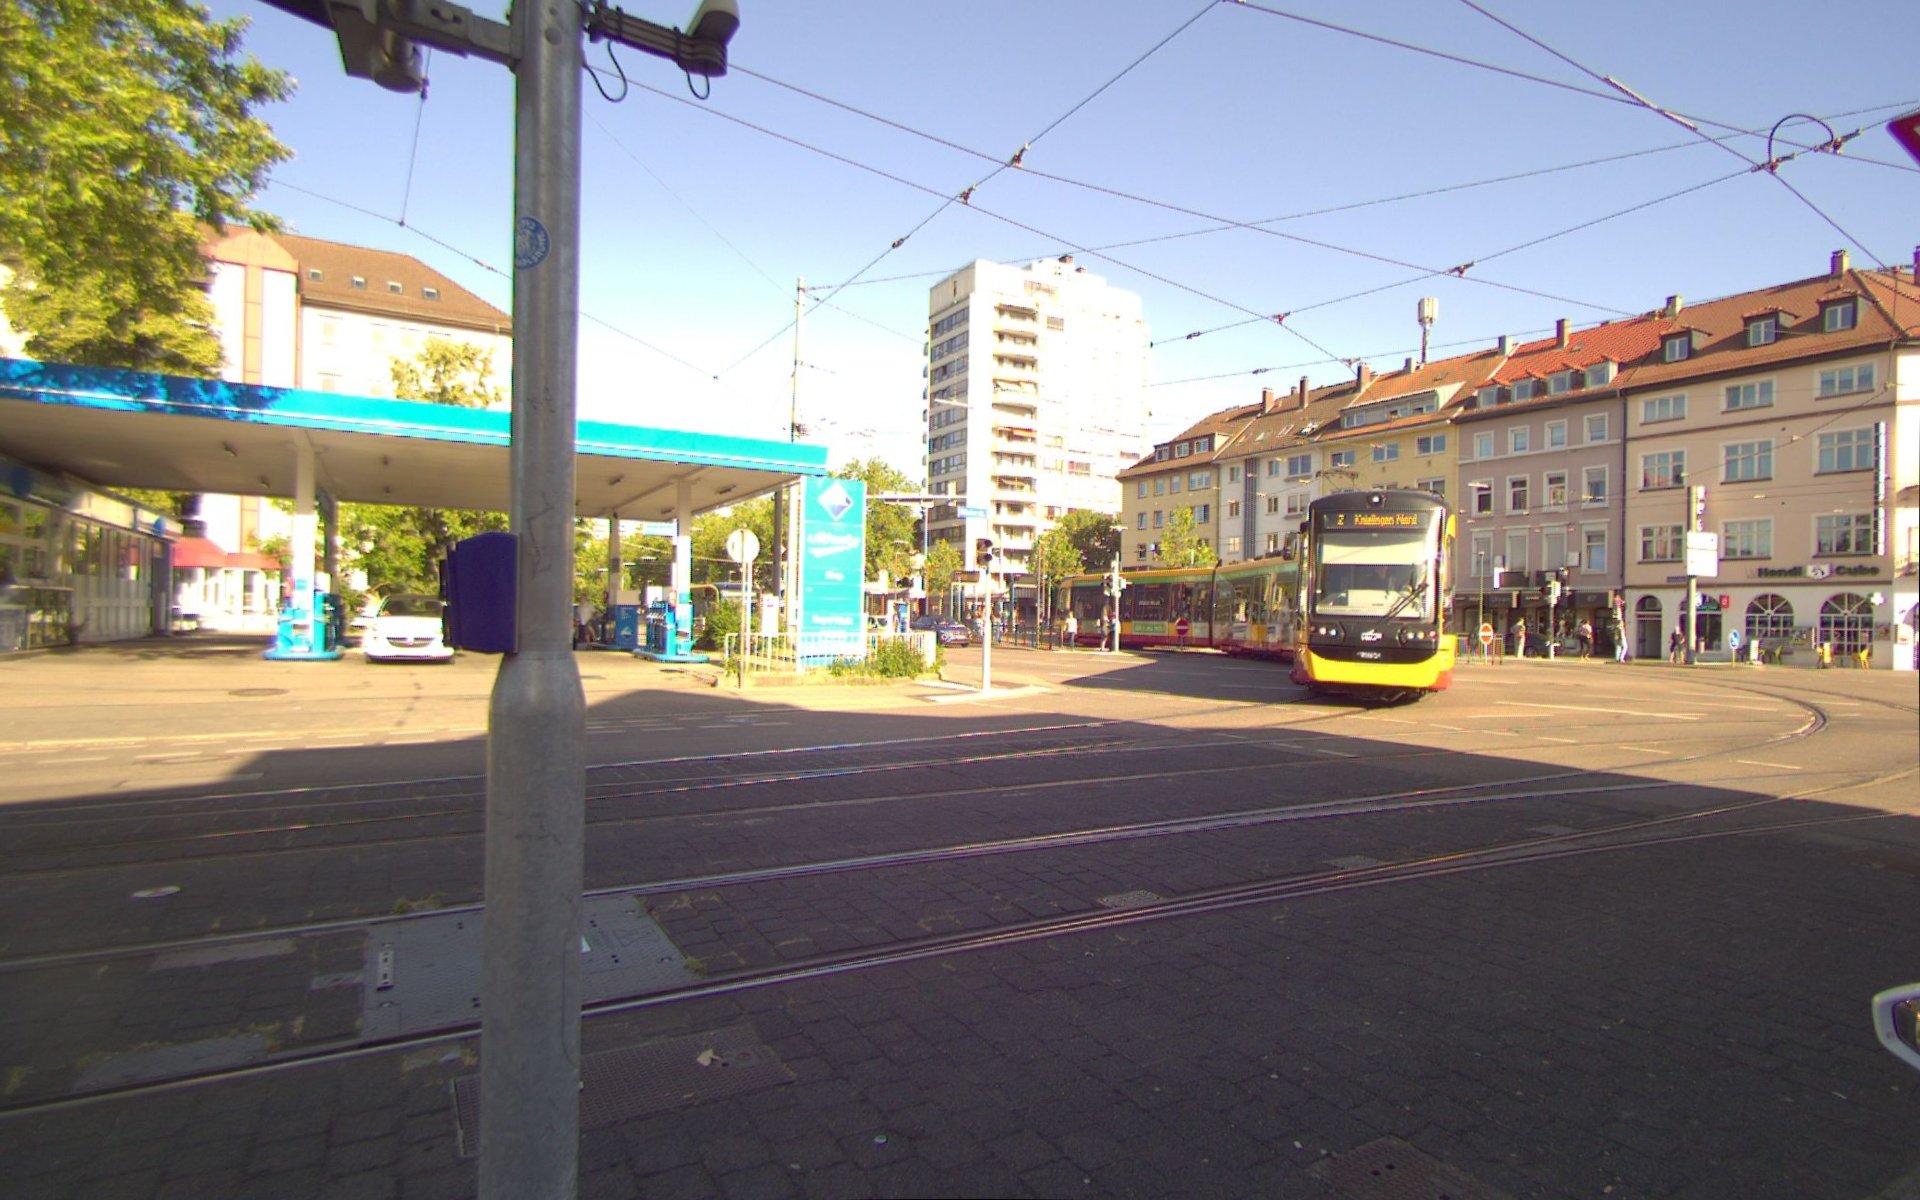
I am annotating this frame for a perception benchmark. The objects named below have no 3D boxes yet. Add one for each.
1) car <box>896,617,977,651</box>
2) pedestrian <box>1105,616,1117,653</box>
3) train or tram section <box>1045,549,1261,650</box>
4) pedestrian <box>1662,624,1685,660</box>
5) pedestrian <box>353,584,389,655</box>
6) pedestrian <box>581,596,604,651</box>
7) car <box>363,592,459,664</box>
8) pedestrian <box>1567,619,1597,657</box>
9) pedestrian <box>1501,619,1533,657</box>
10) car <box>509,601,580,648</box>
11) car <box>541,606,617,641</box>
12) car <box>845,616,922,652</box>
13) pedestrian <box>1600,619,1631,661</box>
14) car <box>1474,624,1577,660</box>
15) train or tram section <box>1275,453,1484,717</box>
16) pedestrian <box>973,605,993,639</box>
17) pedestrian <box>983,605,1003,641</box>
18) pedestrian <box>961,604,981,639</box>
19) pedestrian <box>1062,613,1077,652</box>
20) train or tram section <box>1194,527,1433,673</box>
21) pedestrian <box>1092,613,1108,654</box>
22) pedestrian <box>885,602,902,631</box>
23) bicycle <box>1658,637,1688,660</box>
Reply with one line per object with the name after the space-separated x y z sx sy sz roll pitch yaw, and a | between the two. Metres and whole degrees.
-1.163 1.616 48.368 1.875 1.550 3.955 1 -2 -39 | car
6.151 1.405 40.967 0.472 1.525 0.462 0 0 6 | pedestrian
8.025 0.073 44.411 2.902 3.864 12.046 1 -1 -25 | train or tram section
34.121 2.018 48.037 0.743 1.692 0.579 2 0 -30 | pedestrian
-14.411 0.473 24.592 0.644 1.724 0.494 1 -1 -43 | pedestrian
-11.705 0.754 32.004 0.490 1.724 0.500 1 -1 13 | pedestrian
-12.199 0.602 22.351 1.737 1.461 3.543 1 -1 -29 | car
26.560 1.618 42.887 0.821 1.598 0.724 2 0 -20 | pedestrian
24.451 1.670 44.098 0.821 1.598 0.847 2 0 -20 | pedestrian
-13.550 0.782 32.678 1.737 1.461 3.543 1 -1 -29 | car
-16.863 1.040 44.603 1.722 1.461 3.572 1 -1 5 | car
-3.589 1.552 46.738 1.871 1.550 3.963 1 -1 -33 | car
25.667 1.573 39.324 0.817 1.598 0.552 2 0 -2 | pedestrian
30.823 2.292 54.846 2.277 1.734 4.350 2 0 -27 | car
8.611 -0.100 21.308 2.884 3.864 13.052 1 -1 21 | train or tram section
1.189 1.117 52.095 0.747 1.756 0.797 0 0 -28 | pedestrian
1.633 1.118 49.765 0.747 1.756 0.797 0 0 -28 | pedestrian
0.554 1.096 51.871 0.747 1.756 0.797 0 0 -28 | pedestrian
4.557 1.330 41.775 0.602 1.598 0.834 0 0 5 | pedestrian
10.925 0.108 33.188 2.884 3.864 12.817 1 -1 -2 | train or tram section
5.854 1.392 41.967 0.626 1.666 0.462 0 0 6 | pedestrian
-3.970 0.990 60.123 0.747 1.756 0.797 0 0 -28 | pedestrian
34.105 2.313 48.032 1.479 1.091 0.570 2 0 -30 | bicycle
